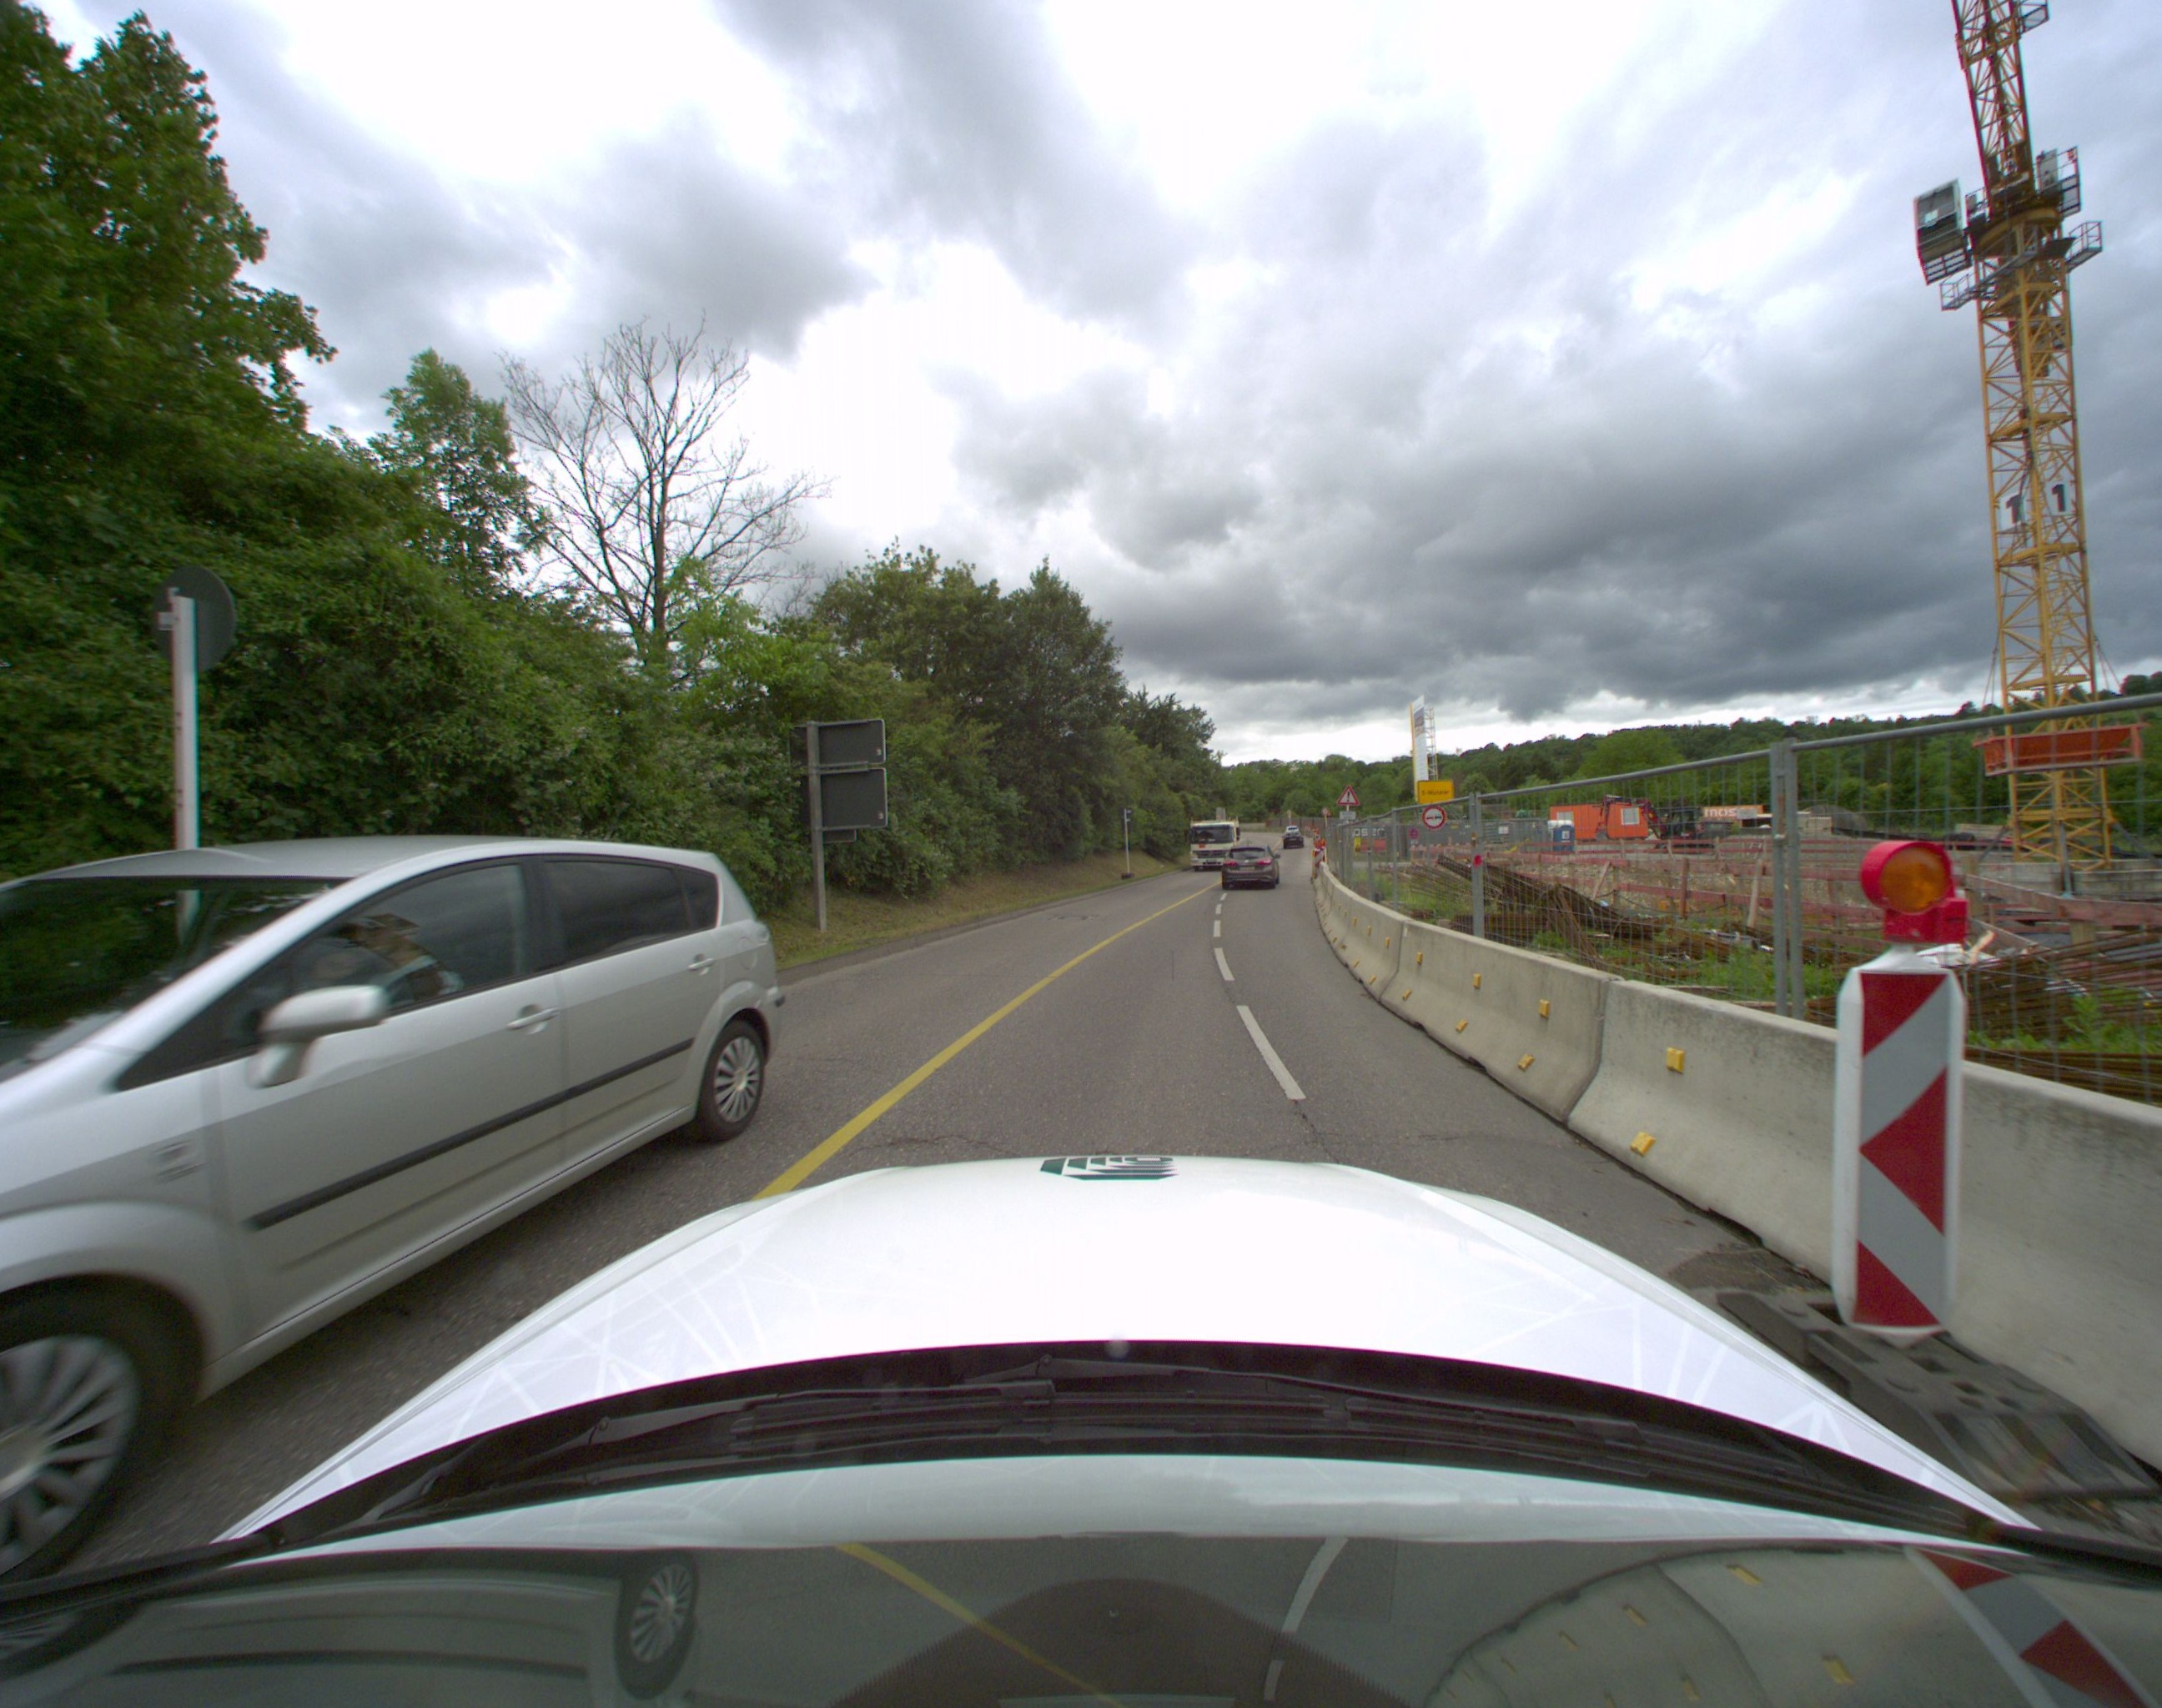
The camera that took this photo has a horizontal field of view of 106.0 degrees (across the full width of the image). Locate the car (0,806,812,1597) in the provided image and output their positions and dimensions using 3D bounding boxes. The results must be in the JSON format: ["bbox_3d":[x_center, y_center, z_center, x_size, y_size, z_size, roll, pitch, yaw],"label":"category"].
[{"bbox_3d":[-2.769,0.683,3.123,1.647,1.552,4.195,-1,0,7],"label":"car"}]

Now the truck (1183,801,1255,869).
[{"bbox_3d":[7.839,-1.103,45.400,2.798,3.335,8.418,-3,1,17],"label":"truck"}]

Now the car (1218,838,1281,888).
[{"bbox_3d":[5.979,0.267,28.591,1.784,1.552,4.018,-1,2,16],"label":"car"}]

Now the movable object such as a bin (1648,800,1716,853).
[{"bbox_3d":[37.351,-1.681,50.704,2.771,3.077,1.848,-3,-1,15],"label":"movable object such as a bin"}]

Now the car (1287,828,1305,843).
[{"bbox_3d":[25.268,-2.176,95.906,1.700,1.675,4.012,-3,0,11],"label":"car"}]

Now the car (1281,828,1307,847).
[{"bbox_3d":[18.800,-1.445,71.880,1.804,1.552,3.809,-1,2,21],"label":"car"}]
